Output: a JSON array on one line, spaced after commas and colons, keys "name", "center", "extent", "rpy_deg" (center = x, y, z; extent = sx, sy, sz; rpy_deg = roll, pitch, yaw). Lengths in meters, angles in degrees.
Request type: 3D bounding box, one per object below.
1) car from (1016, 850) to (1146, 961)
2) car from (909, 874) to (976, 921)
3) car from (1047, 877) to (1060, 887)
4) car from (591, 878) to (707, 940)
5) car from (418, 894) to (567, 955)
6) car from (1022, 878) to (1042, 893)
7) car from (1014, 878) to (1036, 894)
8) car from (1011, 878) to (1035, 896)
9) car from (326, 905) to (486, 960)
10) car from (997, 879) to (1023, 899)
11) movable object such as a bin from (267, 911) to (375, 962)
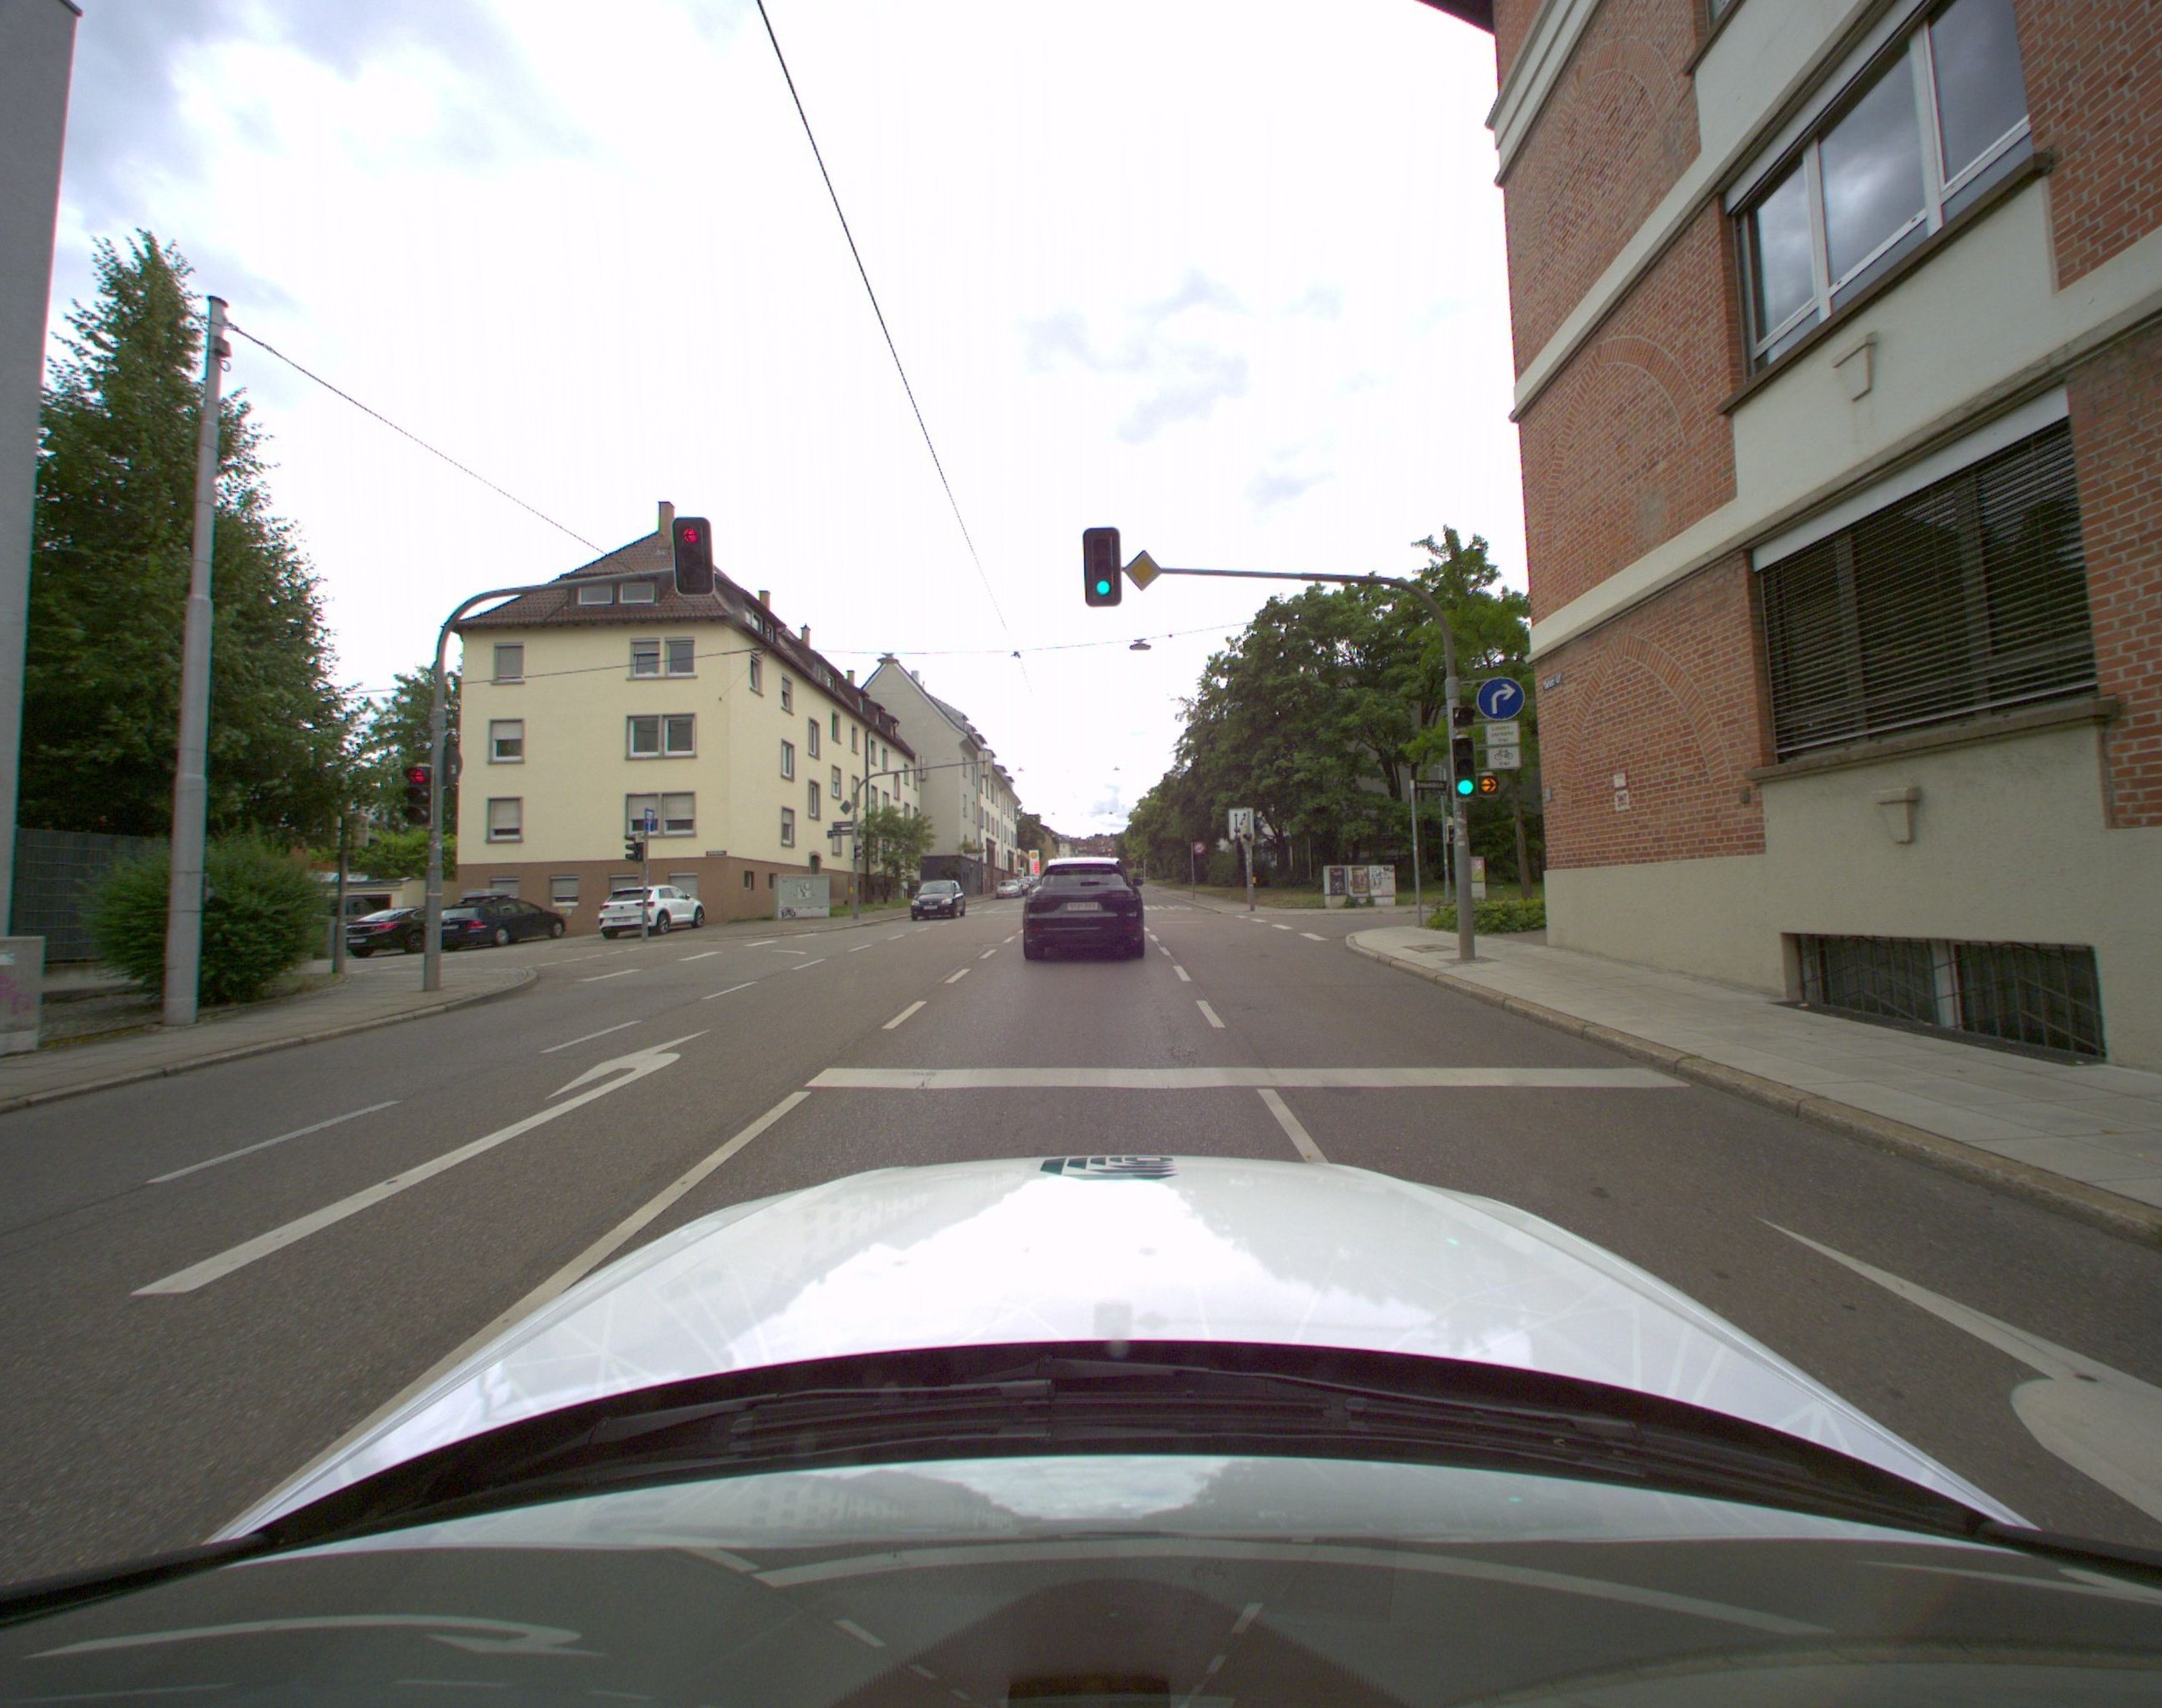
[{"name": "car", "center": [0.060, 0.816, 14.509], "extent": [1.986, 1.697, 4.001], "rpy_deg": [0, -1, 2]}, {"name": "car", "center": [-5.269, 1.627, 31.450], "extent": [1.657, 1.519, 3.742], "rpy_deg": [-5, -1, 2]}, {"name": "car", "center": [-3.981, 4.062, 118.408], "extent": [1.664, 1.362, 3.999], "rpy_deg": [-1, -1, 0]}, {"name": "car", "center": [-13.835, 1.698, 26.360], "extent": [1.666, 1.662, 3.996], "rpy_deg": [-4, 0, -3]}, {"name": "car", "center": [-18.792, 2.194, 26.262], "extent": [1.664, 1.546, 4.103], "rpy_deg": [-4, -1, 2]}, {"name": "car", "center": [-4.820, 3.088, 80.578], "extent": [1.664, 1.362, 3.999], "rpy_deg": [-1, -1, 0]}, {"name": "car", "center": [-5.167, 2.967, 75.552], "extent": [1.664, 1.362, 3.999], "rpy_deg": [-1, -1, 0]}, {"name": "car", "center": [-4.933, 2.789, 69.552], "extent": [1.664, 1.362, 3.999], "rpy_deg": [-1, -1, 0]}, {"name": "car", "center": [-21.255, 2.439, 25.891], "extent": [1.663, 1.362, 4.001], "rpy_deg": [-1, -1, 2]}, {"name": "car", "center": [-5.392, 2.600, 61.924], "extent": [1.665, 1.362, 3.998], "rpy_deg": [-1, -1, -1]}, {"name": "movable object such as a bin", "center": [-24.465, 2.636, 26.287], "extent": [1.414, 1.429, 2.155], "rpy_deg": [0, -1, 2]}]
